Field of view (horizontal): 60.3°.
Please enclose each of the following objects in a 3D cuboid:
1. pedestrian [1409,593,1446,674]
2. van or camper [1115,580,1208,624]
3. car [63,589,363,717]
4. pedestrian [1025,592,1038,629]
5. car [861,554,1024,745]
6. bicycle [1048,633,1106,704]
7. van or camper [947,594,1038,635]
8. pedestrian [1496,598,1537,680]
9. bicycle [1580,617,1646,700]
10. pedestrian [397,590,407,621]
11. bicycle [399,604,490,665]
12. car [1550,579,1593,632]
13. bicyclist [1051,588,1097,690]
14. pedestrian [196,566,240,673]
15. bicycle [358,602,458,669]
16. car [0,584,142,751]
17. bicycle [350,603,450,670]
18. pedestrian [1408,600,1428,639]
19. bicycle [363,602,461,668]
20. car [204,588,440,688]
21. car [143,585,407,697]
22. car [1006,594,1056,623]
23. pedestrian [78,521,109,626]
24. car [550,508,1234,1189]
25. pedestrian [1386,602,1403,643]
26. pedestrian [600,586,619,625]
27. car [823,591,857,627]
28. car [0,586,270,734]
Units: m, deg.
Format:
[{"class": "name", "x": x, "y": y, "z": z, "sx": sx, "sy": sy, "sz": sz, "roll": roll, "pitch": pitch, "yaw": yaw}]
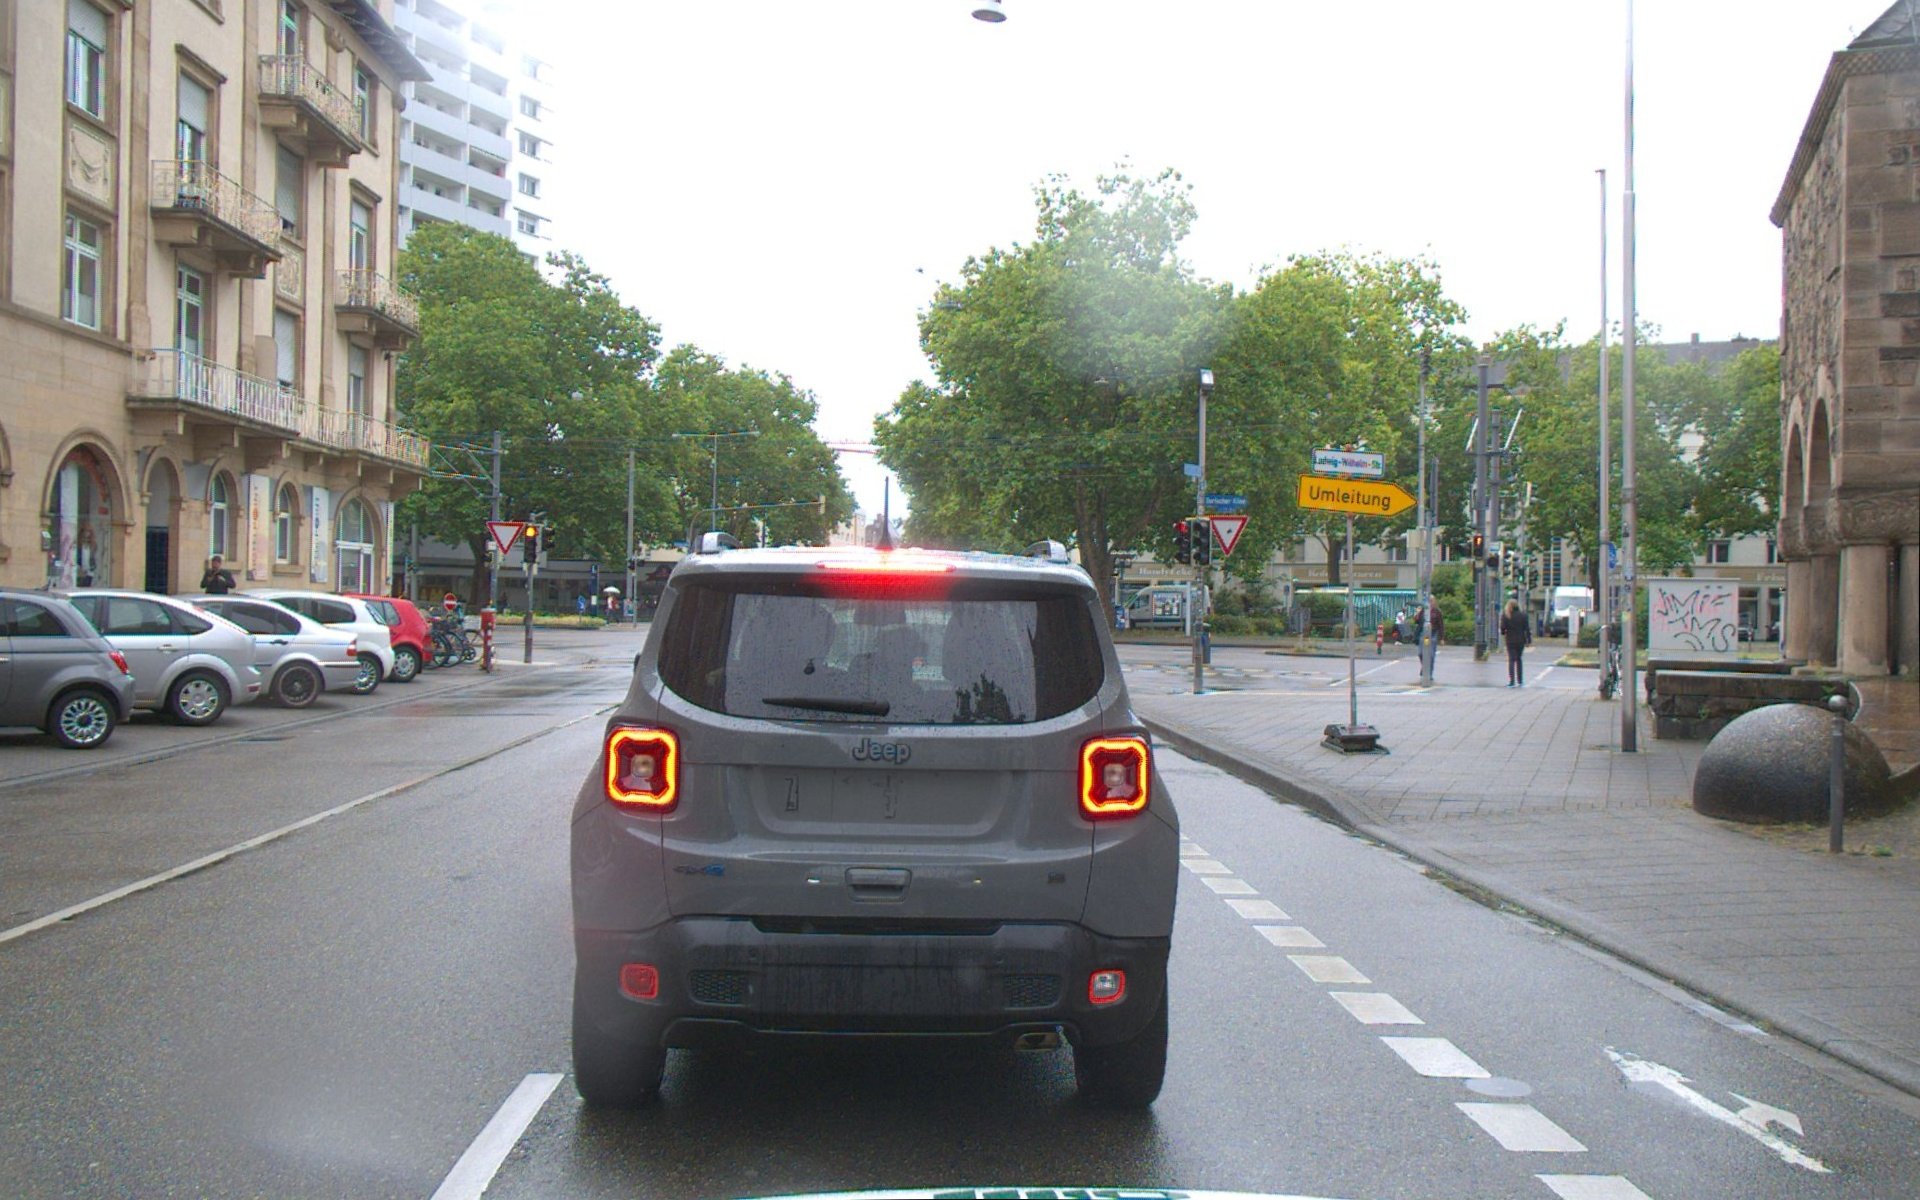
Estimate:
[{"class": "pedestrian", "x": 10.456, "y": 0.734, "z": 37.028, "sx": 0.769, "sy": 1.790, "sz": 0.946, "roll": 0, "pitch": 0, "yaw": 14}, {"class": "van or camper", "x": 11.545, "y": 0.117, "z": 94.977, "sx": 5.149, "sy": 2.356, "sz": 2.090, "roll": 1, "pitch": 0, "yaw": 3}, {"class": "car", "x": -10.007, "y": 0.668, "z": 22.246, "sx": 3.372, "sy": 1.585, "sz": 1.681, "roll": 1, "pitch": 0, "yaw": -41}, {"class": "pedestrian", "x": 4.024, "y": 0.563, "z": 92.557, "sx": 0.637, "sy": 2.049, "sz": 0.483, "roll": 1, "pitch": 0, "yaw": 11}, {"class": "car", "x": -0.232, "y": 0.533, "z": 19.822, "sx": 1.734, "sy": 2.049, "sz": 3.999, "roll": 1, "pitch": 0, "yaw": -1}, {"class": "bicycle", "x": 1.904, "y": 1.105, "z": 27.316, "sx": 0.678, "sy": 1.039, "sz": 2.657, "roll": 0, "pitch": 0, "yaw": -2}, {"class": "van or camper", "x": 2.433, "y": 1.068, "z": 124.777, "sx": 6.395, "sy": 2.963, "sz": 2.493, "roll": 0, "pitch": 0, "yaw": 24}, {"class": "pedestrian", "x": 11.556, "y": 0.797, "z": 34.332, "sx": 0.767, "sy": 1.674, "sz": 0.655, "roll": 0, "pitch": 0, "yaw": 23}, {"class": "bicycle", "x": 9.815, "y": 0.855, "z": 24.920, "sx": 0.322, "sy": 1.174, "sz": 2.076, "roll": 0, "pitch": 0, "yaw": 4}, {"class": "pedestrian", "x": -28.921, "y": 0.282, "z": 85.735, "sx": 0.435, "sy": 1.556, "sz": 0.640, "roll": 1, "pitch": 0, "yaw": -17}, {"class": "bicycle", "x": -10.878, "y": 0.724, "z": 34.926, "sx": 1.728, "sy": 1.288, "sz": 0.608, "roll": 0, "pitch": 0, "yaw": -3}, {"class": "car", "x": 31.210, "y": 0.292, "z": 84.335, "sx": 1.868, "sy": 2.600, "sz": 4.786, "roll": 0, "pitch": 0, "yaw": 22}, {"class": "bicyclist", "x": 1.876, "y": 0.633, "z": 27.340, "sx": 0.673, "sy": 1.646, "sz": 0.883, "roll": 0, "pitch": 0, "yaw": -2}, {"class": "pedestrian", "x": -14.495, "y": 0.379, "z": 32.320, "sx": 0.556, "sy": 2.049, "sz": 0.654, "roll": 1, "pitch": 0, "yaw": -1}, {"class": "bicycle", "x": -10.784, "y": 0.688, "z": 32.337, "sx": 1.774, "sy": 1.288, "sz": 0.498, "roll": 0, "pitch": 0, "yaw": -3}, {"class": "car", "x": -9.967, "y": 0.631, "z": 16.035, "sx": 3.372, "sy": 1.585, "sz": 1.629, "roll": 1, "pitch": 0, "yaw": -41}, {"class": "bicycle", "x": -10.756, "y": 0.697, "z": 31.791, "sx": 1.728, "sy": 1.288, "sz": 0.522, "roll": 0, "pitch": 0, "yaw": -3}, {"class": "pedestrian", "x": 18.715, "y": 0.788, "z": 67.567, "sx": 0.660, "sy": 1.581, "sz": 0.761, "roll": 0, "pitch": -2, "yaw": 27}, {"class": "bicycle", "x": -10.925, "y": 0.695, "z": 33.018, "sx": 1.774, "sy": 1.288, "sz": 0.498, "roll": 0, "pitch": 0, "yaw": -3}, {"class": "car", "x": -10.747, "y": 0.611, "z": 27.959, "sx": 3.372, "sy": 1.585, "sz": 1.681, "roll": 1, "pitch": 0, "yaw": -41}, {"class": "car", "x": -10.360, "y": 0.591, "z": 25.098, "sx": 3.372, "sy": 1.585, "sz": 1.681, "roll": 1, "pitch": 0, "yaw": -41}, {"class": "car", "x": 5.126, "y": 0.608, "z": 119.587, "sx": 3.363, "sy": 2.049, "sz": 1.549, "roll": 0, "pitch": -1, "yaw": 12}, {"class": "pedestrian", "x": -15.344, "y": -0.463, "z": 29.288, "sx": 0.359, "sy": 1.854, "sz": 0.347, "roll": 0, "pitch": -1, "yaw": -4}, {"class": "car", "x": -0.231, "y": 0.623, "z": 6.150, "sx": 1.739, "sy": 1.716, "sz": 3.846, "roll": 0, "pitch": 0, "yaw": -2}, {"class": "pedestrian", "x": 17.514, "y": 0.889, "z": 66.639, "sx": 0.600, "sy": 1.631, "sz": 0.494, "roll": 0, "pitch": 0, "yaw": 23}, {"class": "pedestrian", "x": -16.701, "y": 0.263, "z": 78.757, "sx": 0.606, "sy": 1.858, "sz": 0.694, "roll": 0, "pitch": 0, "yaw": 20}, {"class": "car", "x": -6.128, "y": 0.453, "z": 84.399, "sx": 1.688, "sy": 1.769, "sz": 3.726, "roll": 1, "pitch": 0, "yaw": -5}, {"class": "car", "x": -9.962, "y": 0.646, "z": 19.064, "sx": 3.372, "sy": 1.585, "sz": 1.681, "roll": 1, "pitch": 0, "yaw": -41}]
